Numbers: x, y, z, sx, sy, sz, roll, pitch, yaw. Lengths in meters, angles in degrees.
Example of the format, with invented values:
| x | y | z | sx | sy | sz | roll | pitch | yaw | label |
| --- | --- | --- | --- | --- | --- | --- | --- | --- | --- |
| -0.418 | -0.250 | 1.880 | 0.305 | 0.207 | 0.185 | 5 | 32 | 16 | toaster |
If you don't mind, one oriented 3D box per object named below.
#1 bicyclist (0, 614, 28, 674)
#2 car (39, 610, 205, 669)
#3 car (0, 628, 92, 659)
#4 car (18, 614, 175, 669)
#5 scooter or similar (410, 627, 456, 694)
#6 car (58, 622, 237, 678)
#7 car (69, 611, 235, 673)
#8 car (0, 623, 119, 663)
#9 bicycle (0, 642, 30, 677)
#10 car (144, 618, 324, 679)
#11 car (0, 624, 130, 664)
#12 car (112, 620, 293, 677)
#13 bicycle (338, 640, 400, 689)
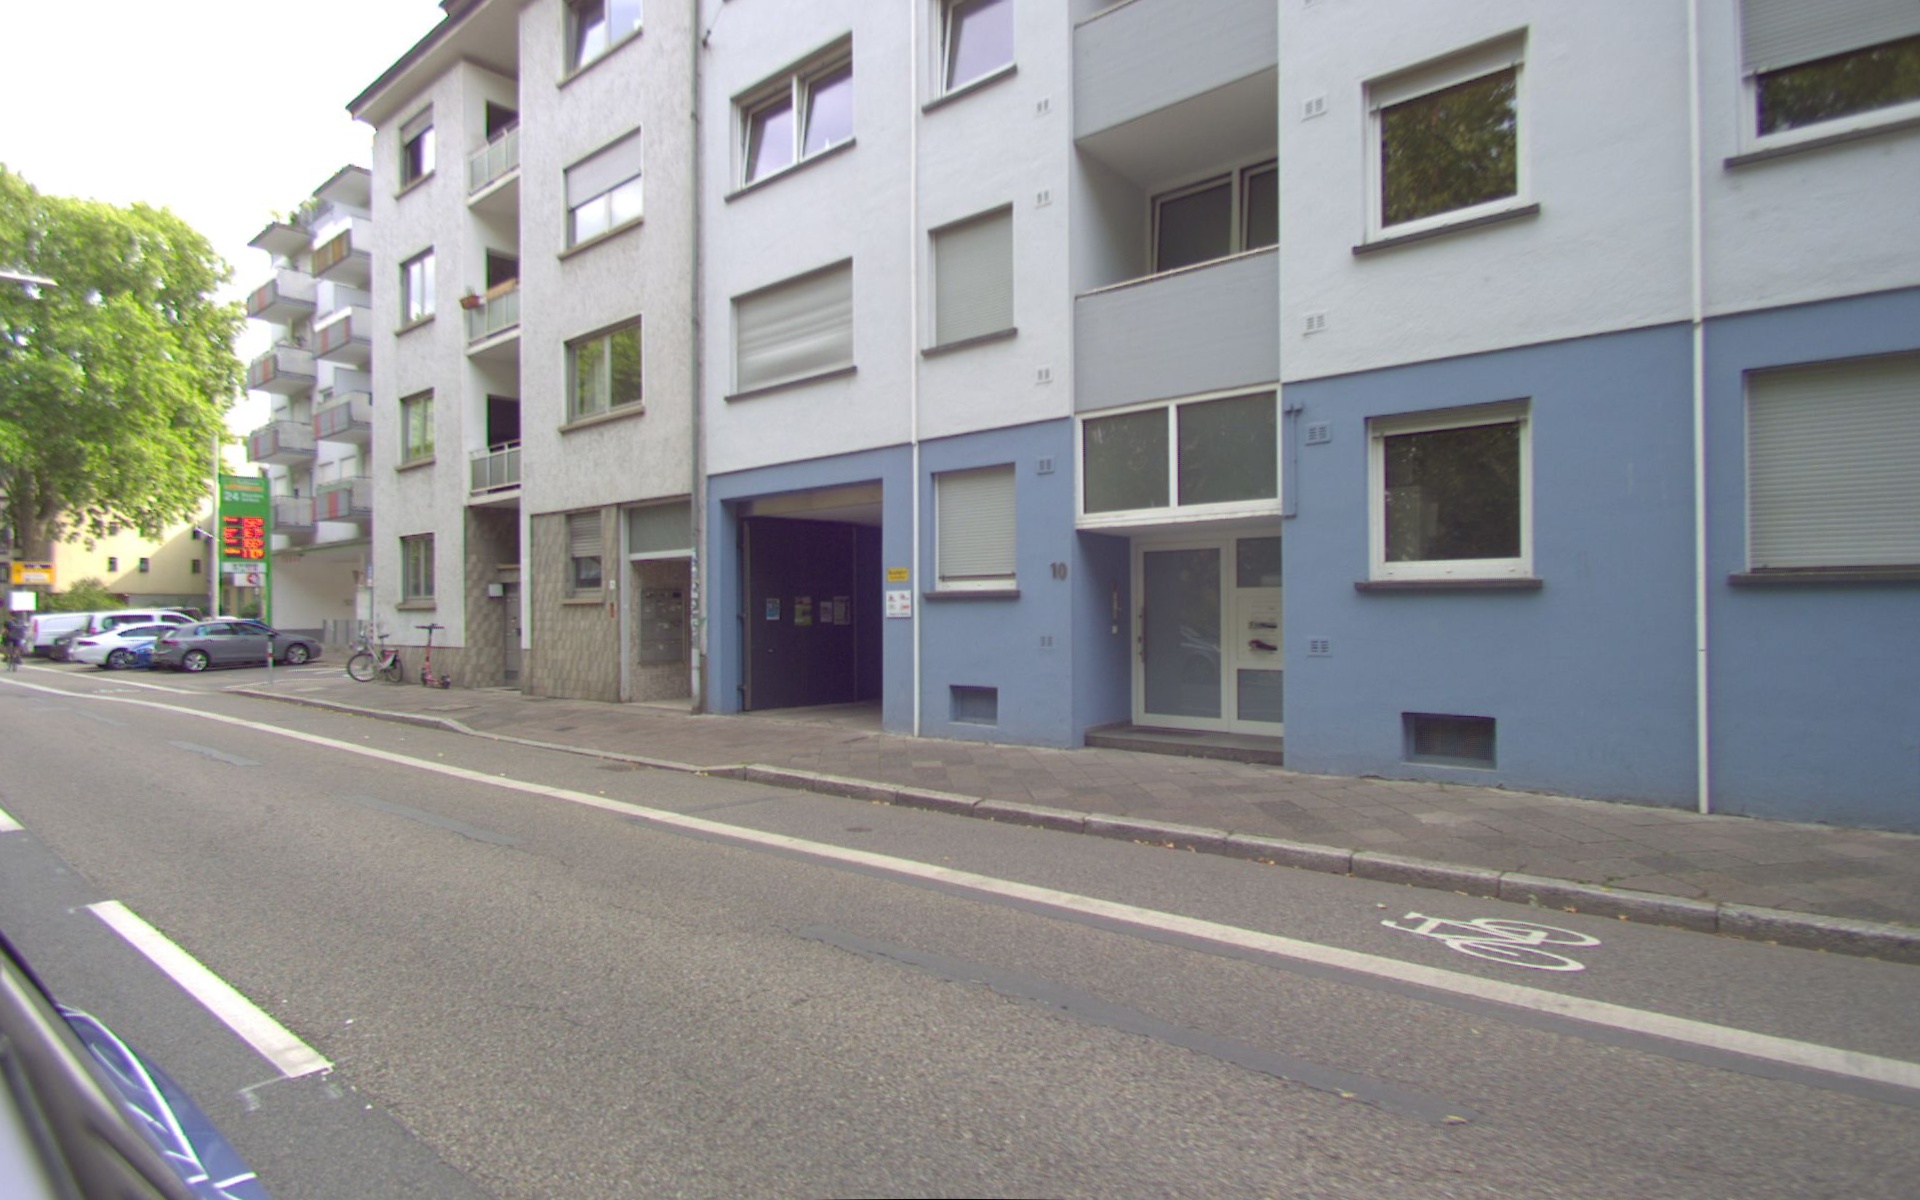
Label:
| x | y | z | sx | sy | sz | roll | pitch | yaw | label |
| --- | --- | --- | --- | --- | --- | --- | --- | --- | --- |
| -29.875 | 1.369 | 31.868 | 1.045 | 1.824 | 0.645 | -1 | 0 | 40 | bicyclist |
| -32.852 | 1.515 | 39.790 | 1.993 | 1.948 | 4.718 | -2 | 1 | 41 | car |
| -50.981 | 2.393 | 56.084 | 3.931 | 1.660 | 1.943 | 0 | -1 | -21 | car |
| -34.976 | 1.621 | 41.088 | 1.949 | 1.873 | 4.569 | -2 | 1 | 41 | car |
| -10.166 | 1.151 | 19.512 | 1.201 | 1.231 | 0.346 | -2 | -1 | 40 | scooter or similar |
| -26.300 | 1.573 | 32.862 | 1.873 | 1.462 | 4.228 | -2 | 1 | 40 | car |
| -27.953 | 1.405 | 35.099 | 1.923 | 1.861 | 4.169 | -2 | 1 | 40 | car |
| -43.471 | 2.047 | 48.636 | 1.753 | 1.618 | 4.472 | -2 | 1 | 41 | car |
| -29.967 | 1.876 | 31.953 | 2.075 | 1.022 | 0.639 | -1 | 0 | 40 | bicycle |
| -22.000 | 1.414 | 30.787 | 1.836 | 1.525 | 4.109 | -2 | 1 | 40 | car |
| -41.660 | 2.011 | 47.197 | 1.732 | 1.560 | 4.317 | -2 | 1 | 41 | car |
| -23.907 | 1.496 | 32.058 | 1.909 | 1.462 | 4.257 | -2 | 1 | 40 | car |
| -12.339 | 1.324 | 21.121 | 1.661 | 0.957 | 0.591 | -2 | 0 | 40 | bicycle |
